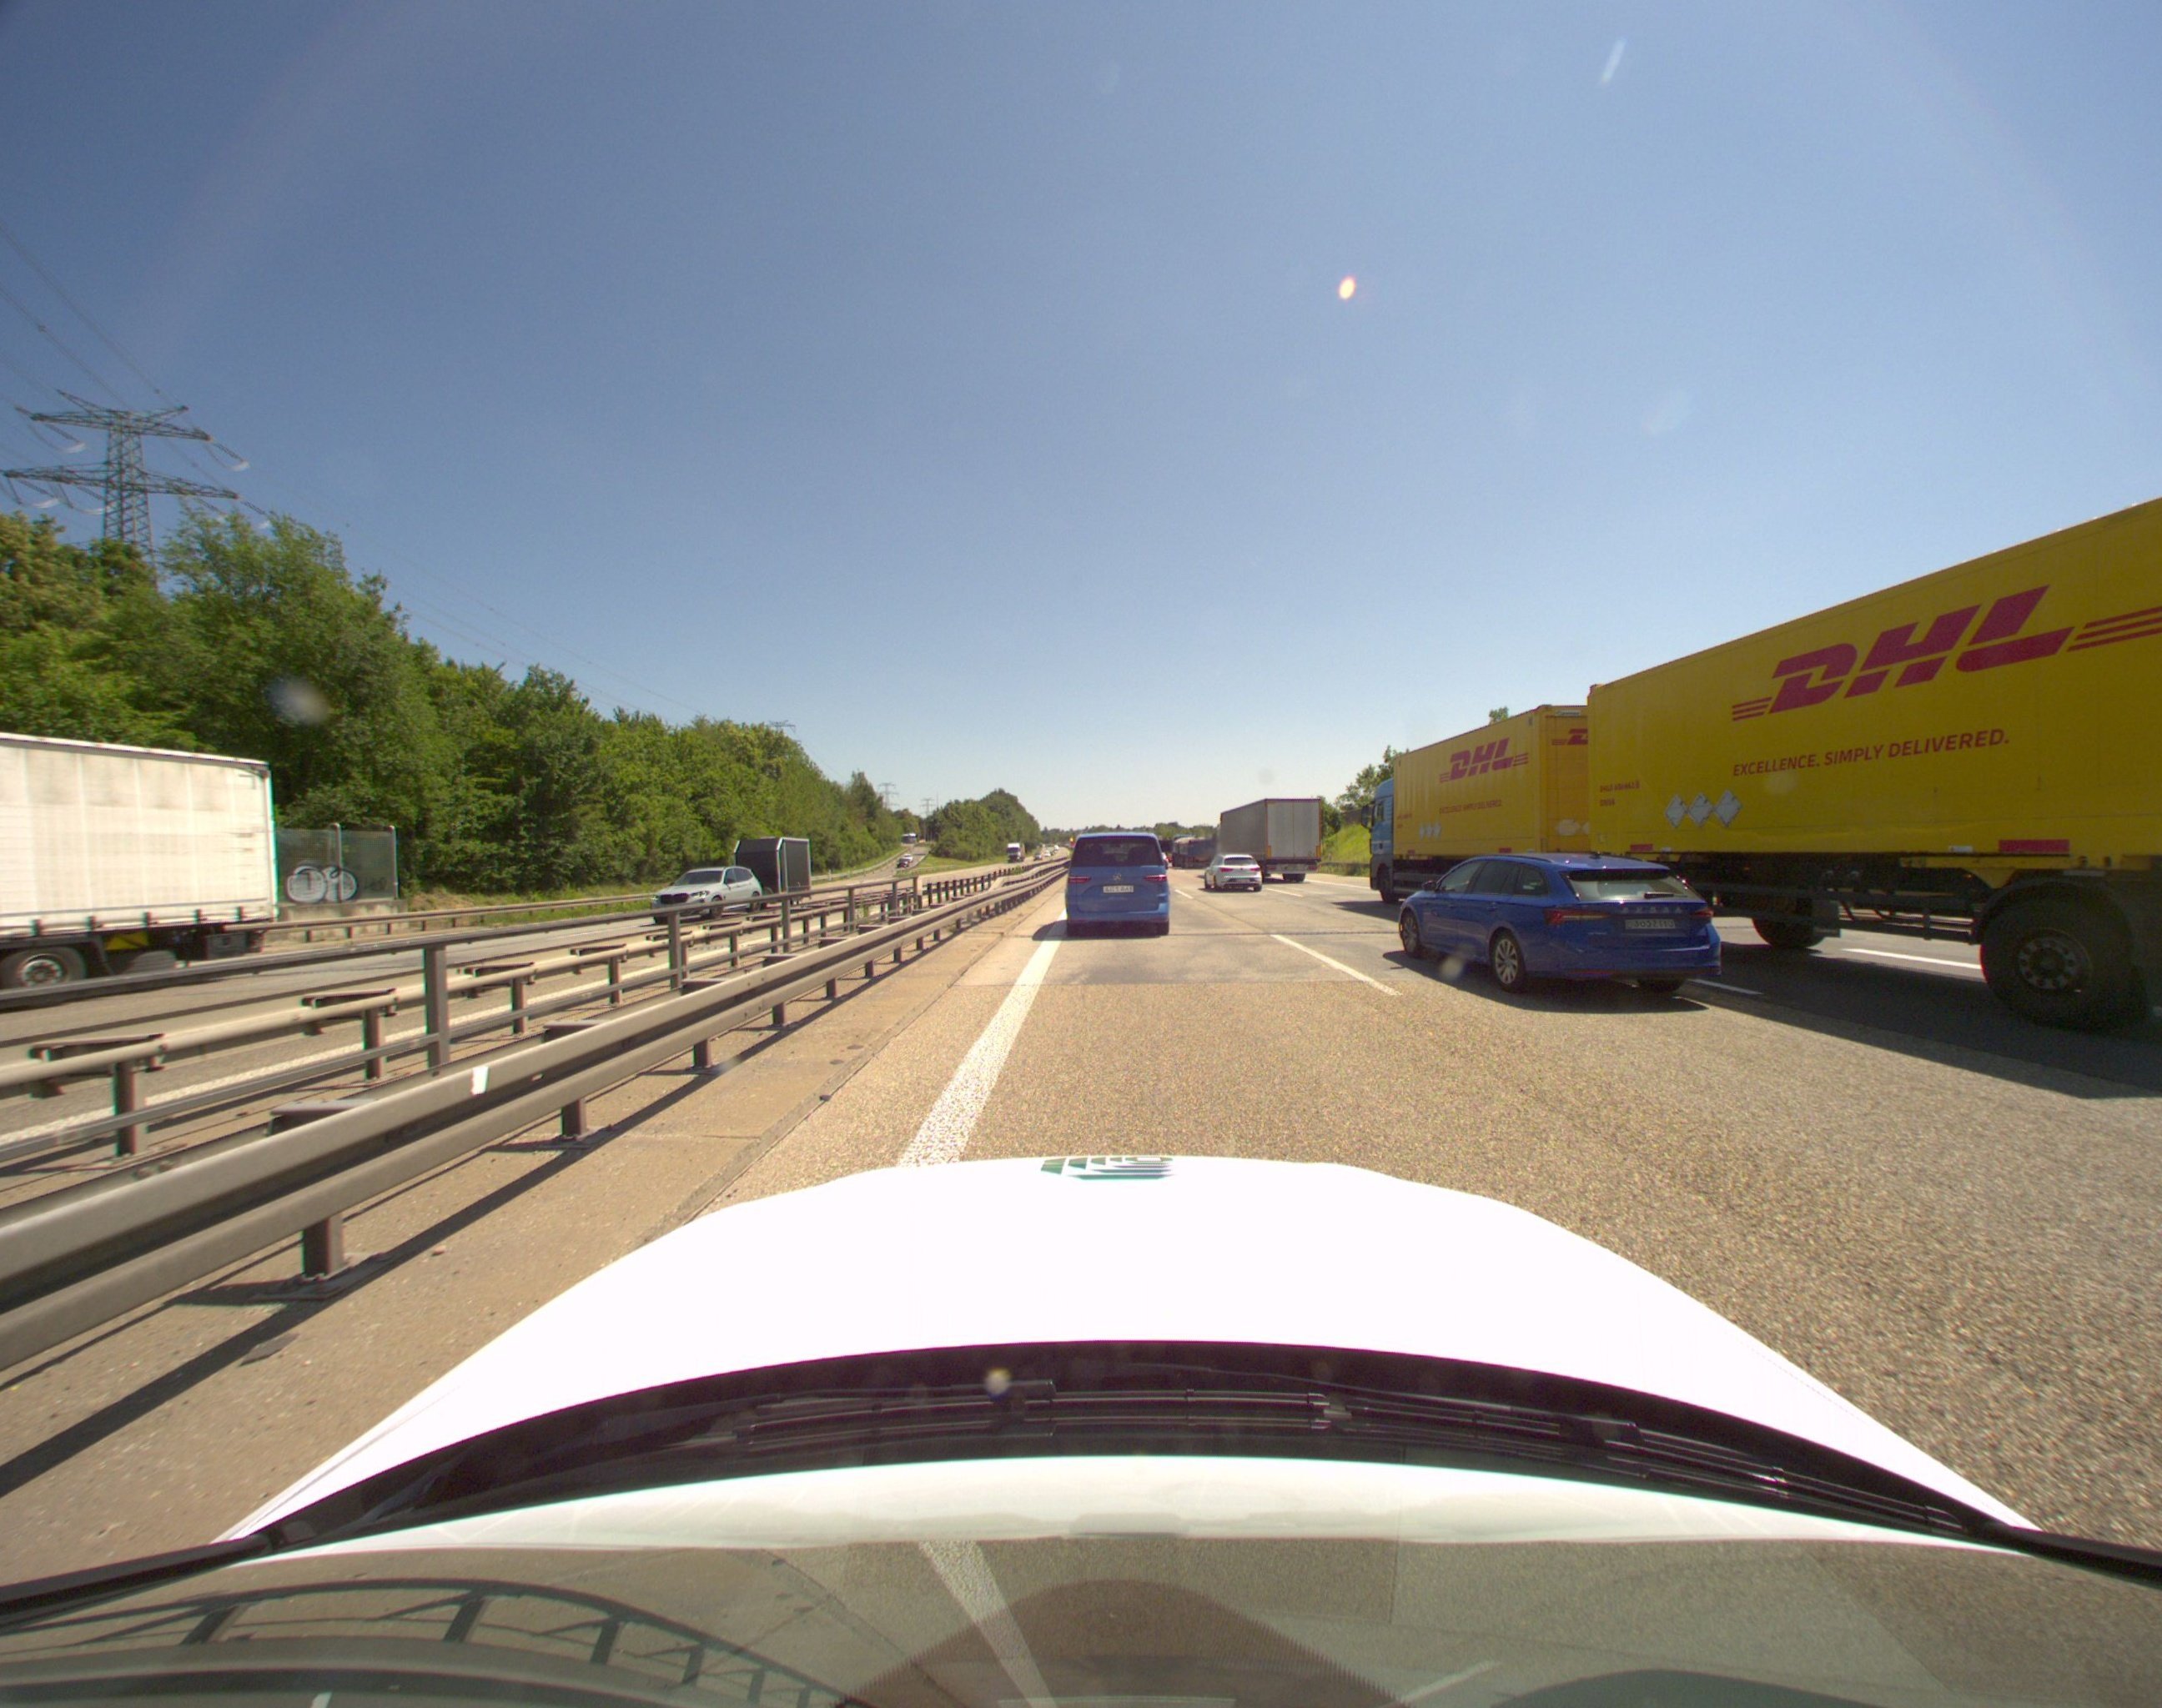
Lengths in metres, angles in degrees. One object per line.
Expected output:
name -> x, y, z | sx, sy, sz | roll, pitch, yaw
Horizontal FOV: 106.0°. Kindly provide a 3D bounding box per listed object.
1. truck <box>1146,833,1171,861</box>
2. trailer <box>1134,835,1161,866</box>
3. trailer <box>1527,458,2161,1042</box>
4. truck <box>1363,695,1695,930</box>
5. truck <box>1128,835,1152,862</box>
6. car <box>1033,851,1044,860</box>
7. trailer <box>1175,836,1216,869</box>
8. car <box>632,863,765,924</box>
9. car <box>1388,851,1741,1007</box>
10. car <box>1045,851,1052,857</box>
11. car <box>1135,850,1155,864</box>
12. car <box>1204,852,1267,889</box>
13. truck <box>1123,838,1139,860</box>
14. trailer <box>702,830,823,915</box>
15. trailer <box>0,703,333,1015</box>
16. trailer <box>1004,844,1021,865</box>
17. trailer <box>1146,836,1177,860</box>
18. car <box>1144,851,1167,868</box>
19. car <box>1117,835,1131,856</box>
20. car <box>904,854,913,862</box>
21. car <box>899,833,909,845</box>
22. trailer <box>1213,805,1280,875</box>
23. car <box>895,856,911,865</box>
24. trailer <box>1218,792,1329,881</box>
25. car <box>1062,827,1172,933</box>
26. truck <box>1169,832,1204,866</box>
truck -> 11.731, -1.055, 123.736 | 3.610, 4.094, 7.530 | 0, -1, 3
trailer -> 11.422, -0.495, 140.764 | 3.635, 5.136, 13.072 | 0, -1, 0
trailer -> 9.208, -0.741, 9.963 | 2.754, 4.117, 9.383 | 0, 0, 3
truck -> 9.553, -0.680, 19.240 | 2.754, 4.109, 9.958 | 0, -1, 3
truck -> 11.695, -0.930, 162.759 | 3.610, 5.213, 15.683 | 0, -1, 0
car -> -9.458, 0.273, 179.851 | 1.986, 1.941, 4.898 | 0, -1, 2
trailer -> 10.476, -0.186, 75.391 | 2.734, 2.836, 9.118 | 0, 1, 1
car -> -12.089, 1.186, 26.118 | 1.864, 1.625, 4.630 | -4, -1, 2
car -> 5.315, 0.692, 9.765 | 1.700, 1.441, 4.429 | 0, 0, 1
car -> -9.825, 0.029, 247.379 | 1.845, 1.467, 4.303 | -2, -1, -1
car -> 6.799, 0.340, 86.881 | 1.775, 1.524, 4.000 | 0, -1, 1
car -> 5.929, 0.597, 31.678 | 1.860, 1.361, 4.002 | 0, 0, 2
truck -> 11.183, -1.017, 183.669 | 3.058, 4.920, 10.690 | 0, -1, 1
trailer -> -11.941, 0.663, 31.047 | 2.158, 2.777, 5.378 | -5, -1, 2
trailer -> -16.737, 0.135, 8.741 | 3.974, 4.235, 14.045 | -3, -1, 2
trailer -> -14.105, 0.087, 169.011 | 2.747, 3.976, 6.132 | -3, 0, 1
trailer -> 11.267, -0.730, 115.108 | 3.631, 3.079, 15.783 | 0, -1, 3
car -> 6.578, 0.528, 72.408 | 1.833, 1.454, 4.002 | 0, -1, 2
car -> 11.352, -2.249, 215.453 | 3.207, 5.257, 8.145 | 0, -1, 1
car -> -32.744, 0.801, 154.251 | 1.687, 1.456, 4.327 | 0, -1, -12
car -> -49.759, -4.193, 228.964 | 2.074, 2.880, 6.691 | -2, -1, -18
trailer -> 10.160, -0.838, 50.559 | 2.914, 4.043, 6.412 | -1, 0, 1
car -> -29.856, 1.111, 136.785 | 1.991, 1.576, 5.263 | 0, -1, -6
trailer -> 10.015, -0.805, 44.337 | 2.952, 4.049, 13.754 | -1, 0, 1
car -> 0.700, 0.469, 16.123 | 1.894, 1.838, 4.002 | 0, -1, 2
truck -> 10.639, -0.506, 82.581 | 2.734, 3.311, 7.134 | 0, 1, 1
